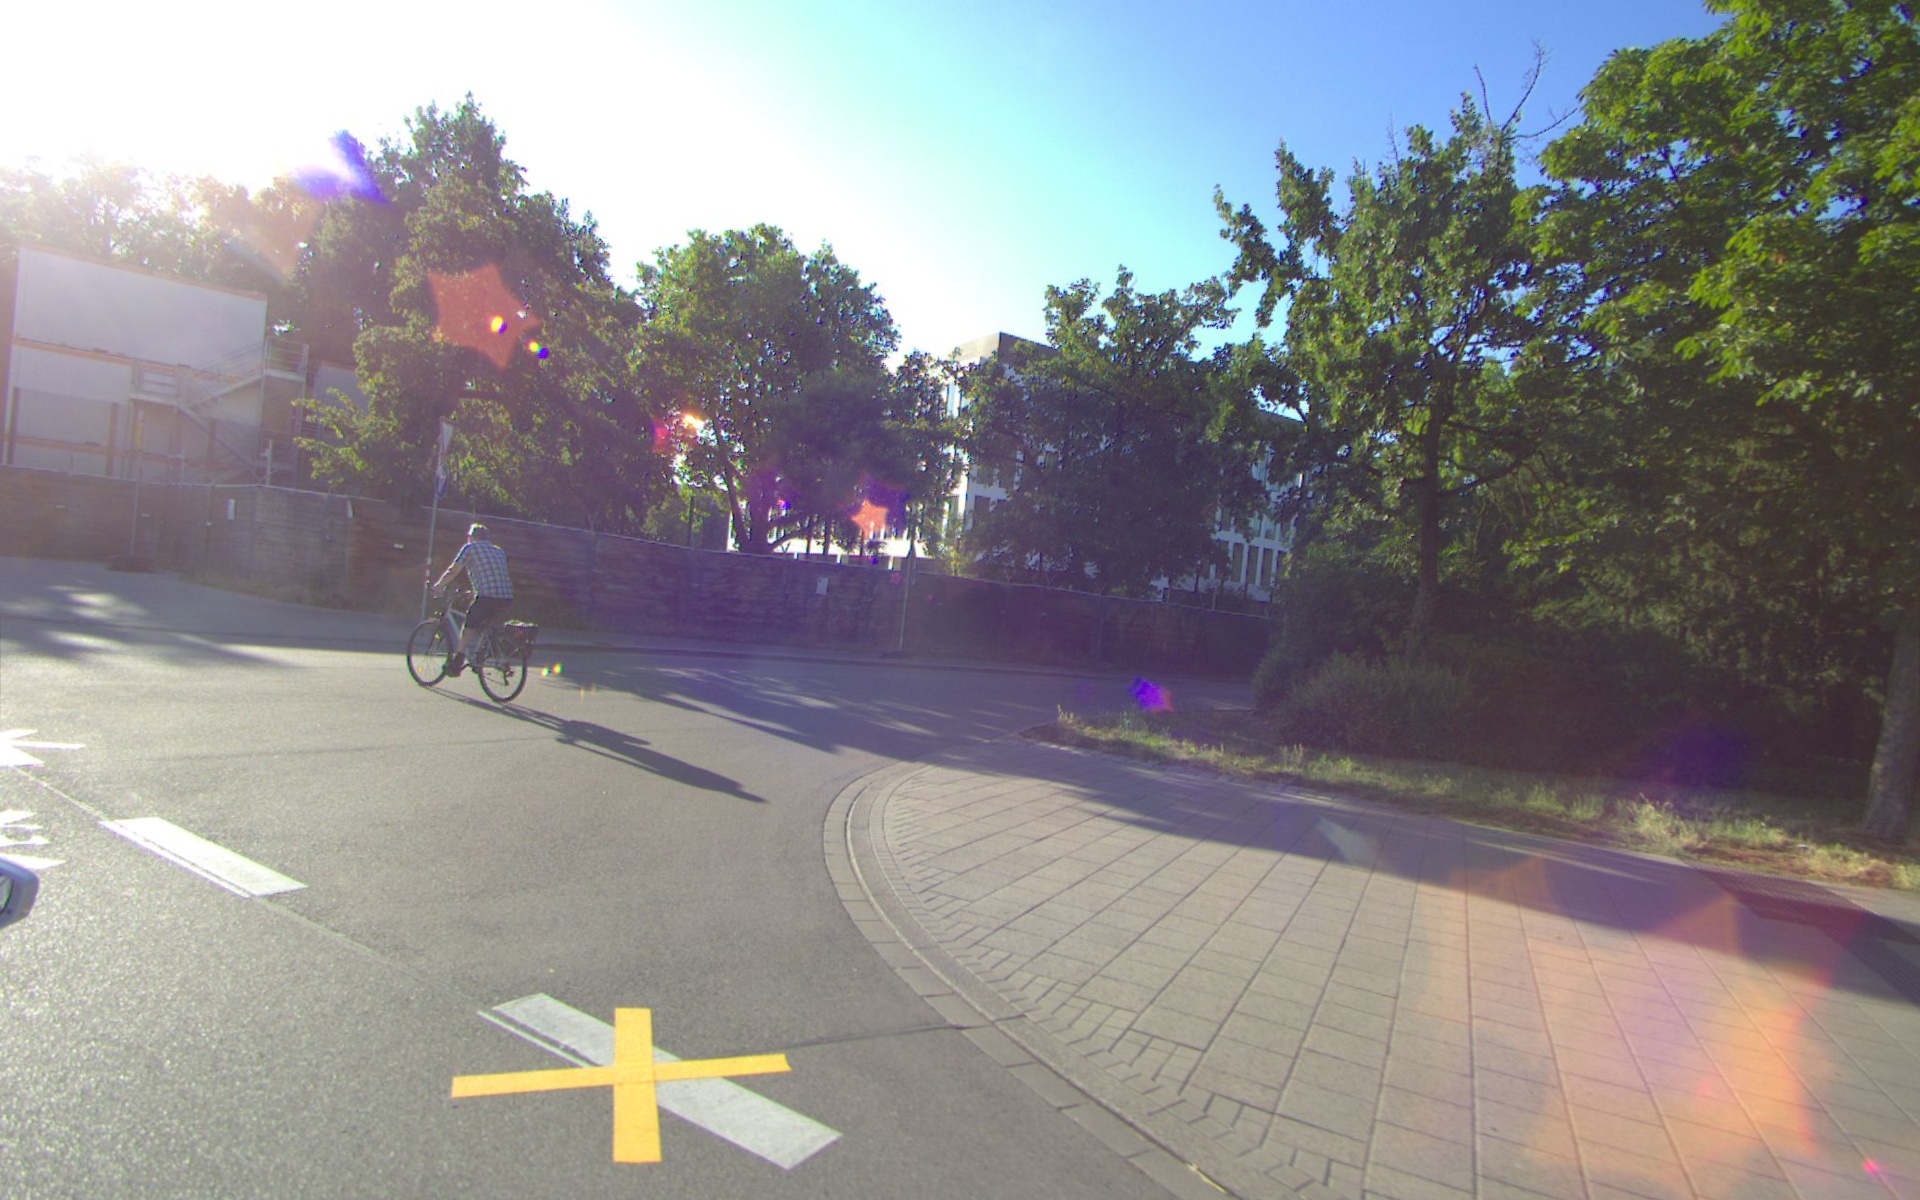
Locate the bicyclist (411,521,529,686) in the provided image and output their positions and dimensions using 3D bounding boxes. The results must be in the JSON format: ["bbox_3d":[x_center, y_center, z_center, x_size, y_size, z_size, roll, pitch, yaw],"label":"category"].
[{"bbox_3d":[-5.197,0.036,10.681,0.887,1.635,0.585,6,1,27],"label":"bicyclist"}]

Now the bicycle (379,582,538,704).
[{"bbox_3d":[-5.378,0.437,10.741,1.878,1.075,0.428,6,1,28],"label":"bicycle"}]
